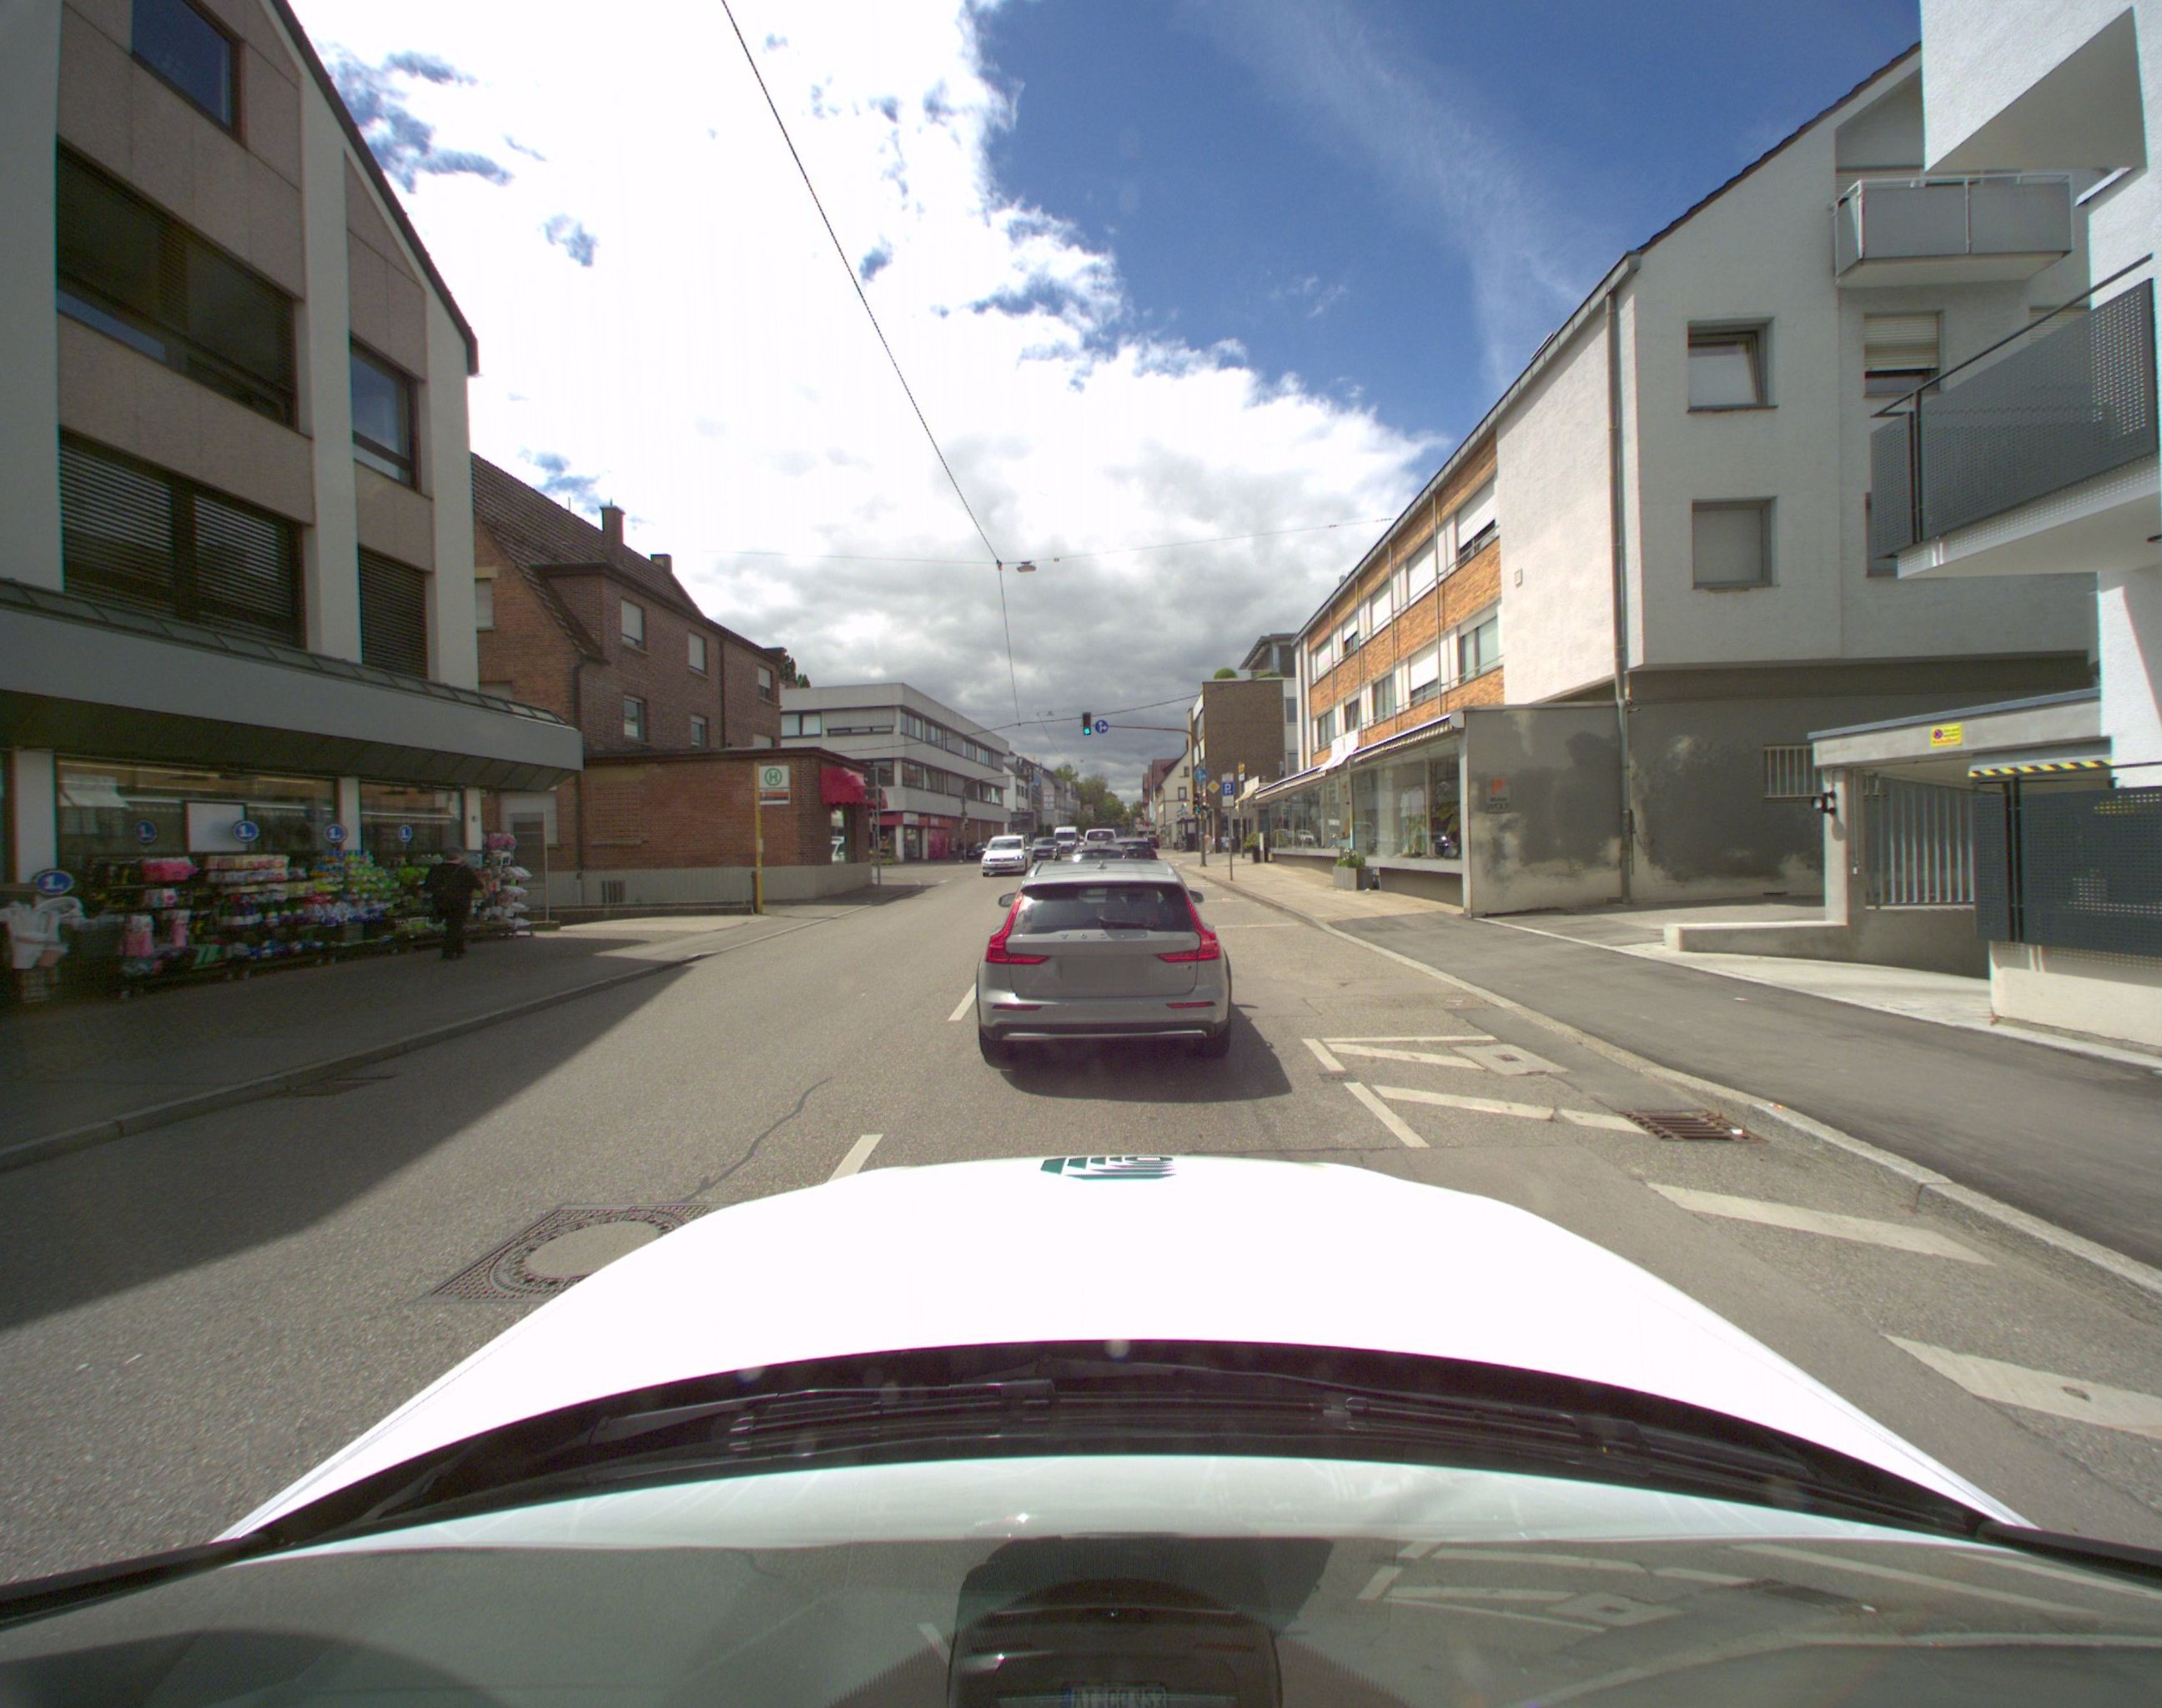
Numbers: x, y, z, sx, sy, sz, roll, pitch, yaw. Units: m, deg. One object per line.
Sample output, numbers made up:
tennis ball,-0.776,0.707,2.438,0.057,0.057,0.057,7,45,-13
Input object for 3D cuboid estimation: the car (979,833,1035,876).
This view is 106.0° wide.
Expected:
car,-3.042,-0.025,34.373,1.768,1.612,4.122,-3,2,2

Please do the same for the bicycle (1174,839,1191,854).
bicycle,8.499,-0.627,68.346,0.555,1.144,2.288,-3,1,-15

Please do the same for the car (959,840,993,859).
car,-8.247,-0.353,64.235,1.776,1.464,4.094,0,1,6

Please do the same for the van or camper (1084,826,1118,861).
van or camper,1.148,-0.551,46.372,1.812,1.835,4.001,-1,-1,2

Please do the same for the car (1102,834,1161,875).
car,1.793,0.022,29.873,1.803,1.346,3.715,-2,0,-2

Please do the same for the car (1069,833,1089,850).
car,-0.174,-1.323,84.037,1.773,1.639,4.225,-3,1,3

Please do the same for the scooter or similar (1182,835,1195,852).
scooter or similar,8.587,-0.826,65.189,0.342,1.253,1.236,-4,0,-23

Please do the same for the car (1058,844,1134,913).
car,0.394,0.517,19.591,1.644,1.482,3.609,-1,1,2

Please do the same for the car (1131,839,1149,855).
car,5.298,-0.608,72.830,1.433,1.287,3.249,-2,0,2

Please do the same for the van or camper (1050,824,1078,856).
van or camper,-1.438,-1.260,70.560,2.141,2.556,5.439,-2,2,0

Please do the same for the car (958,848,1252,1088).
car,0.213,0.725,7.178,1.829,1.486,4.002,-1,0,2

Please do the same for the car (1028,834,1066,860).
car,-2.053,-0.423,50.105,1.782,1.511,3.850,-2,0,5

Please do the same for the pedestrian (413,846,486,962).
pedestrian,-8.820,0.673,11.391,0.776,1.558,0.567,1,-2,-39

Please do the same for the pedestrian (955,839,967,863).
pedestrian,-8.466,-0.215,57.518,0.616,1.641,0.661,-2,1,3

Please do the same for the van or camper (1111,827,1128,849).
van or camper,4.980,-2.076,105.275,2.114,2.686,4.785,-2,1,3

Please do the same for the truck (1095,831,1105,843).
truck,4.993,-4.423,213.042,2.266,2.886,7.086,-2,1,3

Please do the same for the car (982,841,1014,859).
car,-7.126,-0.395,70.283,1.894,1.443,4.451,0,1,6

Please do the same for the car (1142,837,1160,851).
car,8.020,-1.094,93.286,1.705,1.464,4.000,-1,-1,0
